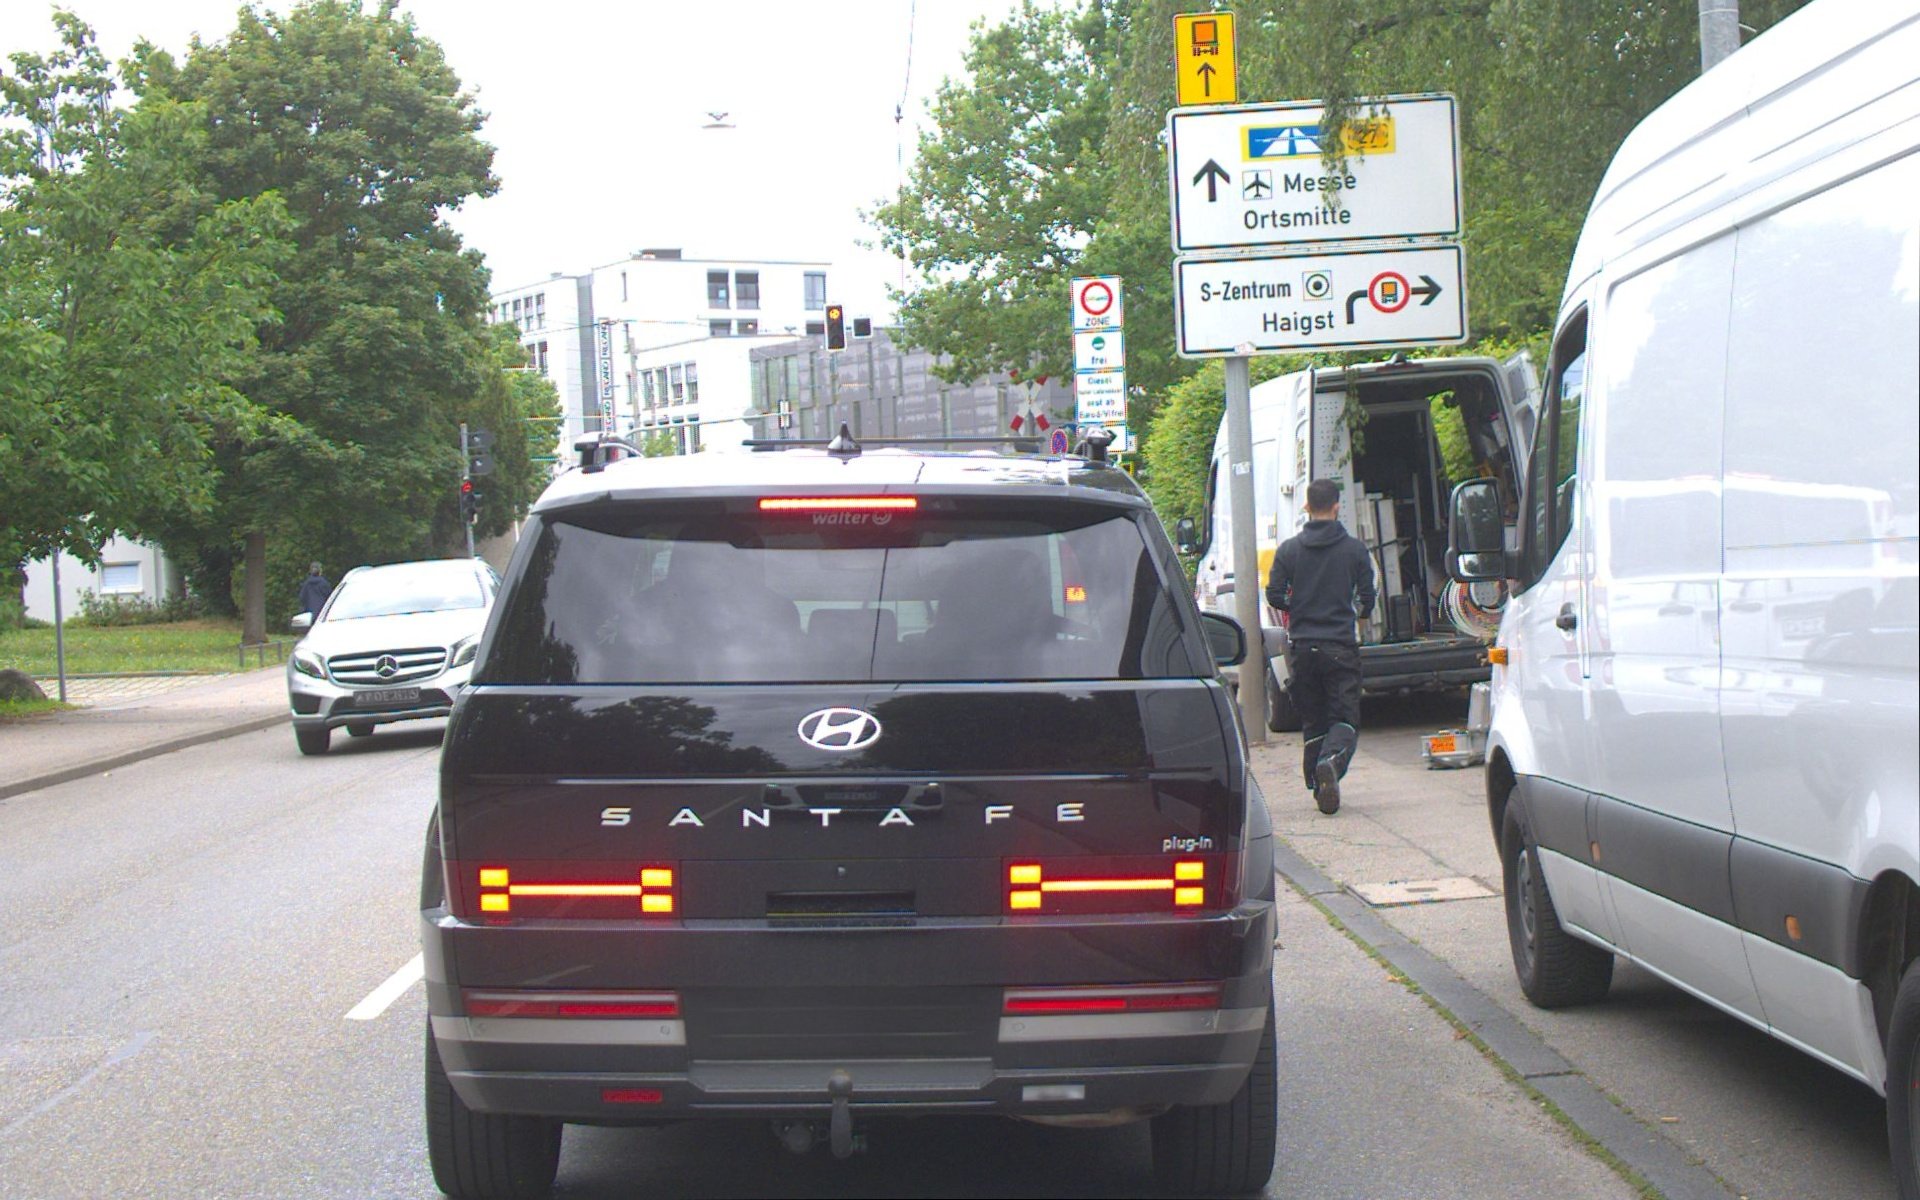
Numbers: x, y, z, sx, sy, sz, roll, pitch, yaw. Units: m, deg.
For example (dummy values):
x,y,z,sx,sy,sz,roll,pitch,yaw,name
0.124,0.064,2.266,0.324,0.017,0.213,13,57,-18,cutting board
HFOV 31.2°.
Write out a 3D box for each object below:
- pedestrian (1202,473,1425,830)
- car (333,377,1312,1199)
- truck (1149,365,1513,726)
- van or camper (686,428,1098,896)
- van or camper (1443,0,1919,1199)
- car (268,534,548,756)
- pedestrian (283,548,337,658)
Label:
x,y,z,sx,sy,sz,roll,pitch,yaw,name
1.842,0.253,17.870,0.759,1.791,0.871,-1,1,38,pedestrian
-0.287,0.446,8.671,1.889,1.813,4.000,0,1,-1,car
2.890,-0.426,28.025,1.942,2.553,5.217,-3,1,-4,truck
-0.323,0.241,17.170,1.754,2.007,4.000,-2,1,-1,van or camper
2.628,-0.068,7.814,1.993,2.611,6.541,-2,1,-1,van or camper
-4.680,0.330,29.678,1.785,1.648,4.121,-4,1,-2,car
-10.250,0.043,54.260,0.738,1.709,0.793,-2,1,-7,pedestrian
